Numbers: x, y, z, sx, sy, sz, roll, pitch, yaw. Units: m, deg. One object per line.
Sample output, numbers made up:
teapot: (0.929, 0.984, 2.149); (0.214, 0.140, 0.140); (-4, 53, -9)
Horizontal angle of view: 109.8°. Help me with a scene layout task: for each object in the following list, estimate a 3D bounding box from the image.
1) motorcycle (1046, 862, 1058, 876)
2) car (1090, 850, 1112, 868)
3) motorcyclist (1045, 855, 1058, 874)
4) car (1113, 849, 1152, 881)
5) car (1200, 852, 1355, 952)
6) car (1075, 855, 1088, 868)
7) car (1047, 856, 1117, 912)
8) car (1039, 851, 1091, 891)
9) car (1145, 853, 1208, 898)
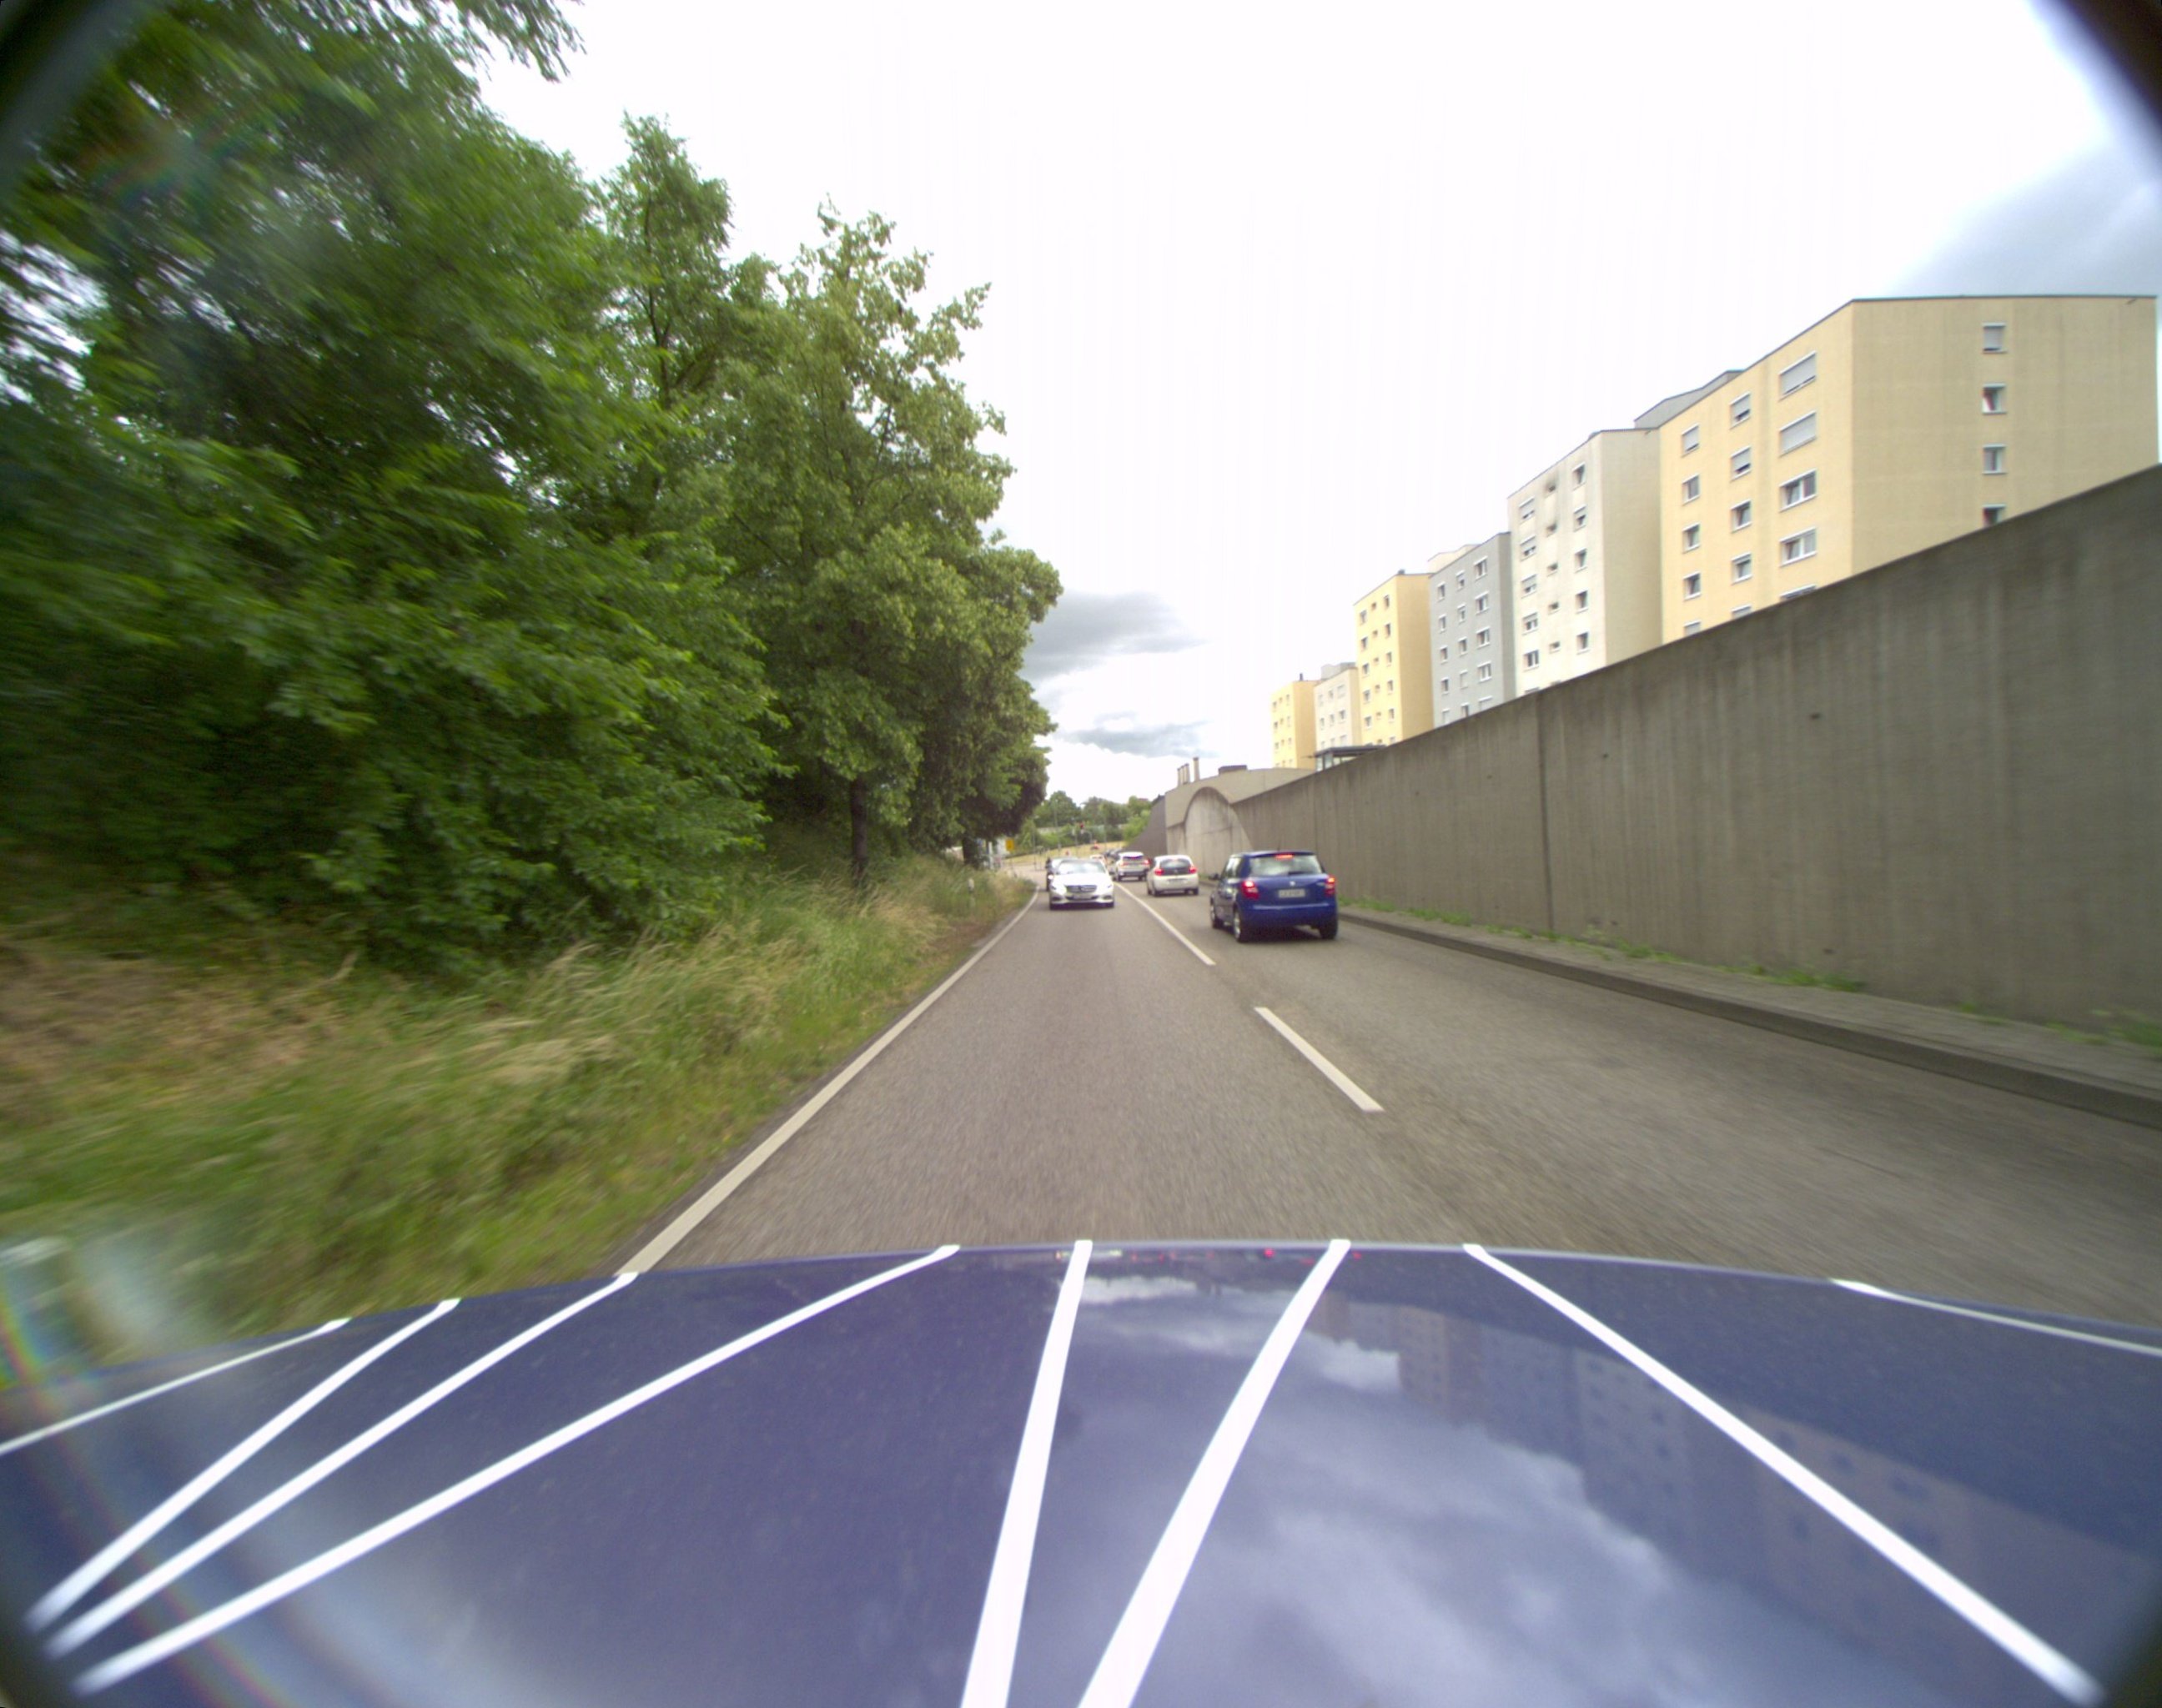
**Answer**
motorcycle: (-2.527, 1.307, 65.900); (0.883, 1.098, 2.359); (-5, 1, -5)
car: (1.974, 0.507, 76.341); (1.867, 1.622, 4.207); (-3, 0, -2)
motorcyclist: (-2.559, 0.915, 65.873); (0.883, 1.596, 1.243); (-5, 2, -6)
car: (2.918, 0.587, 43.895); (1.895, 1.623, 4.424); (-3, 2, 0)
car: (3.395, 0.747, 13.965); (1.772, 1.487, 4.208); (-3, 0, 1)
car: (0.098, 0.994, 103.936); (1.547, 1.515, 2.913); (-5, 2, 0)
car: (0.115, 0.848, 23.229); (1.904, 1.471, 4.095); (-2, 0, 3)
car: (-0.788, 0.747, 34.996); (1.760, 1.532, 3.996); (-6, 2, -9)
car: (3.516, 0.753, 28.792); (1.920, 1.487, 4.208); (-3, 0, 2)
